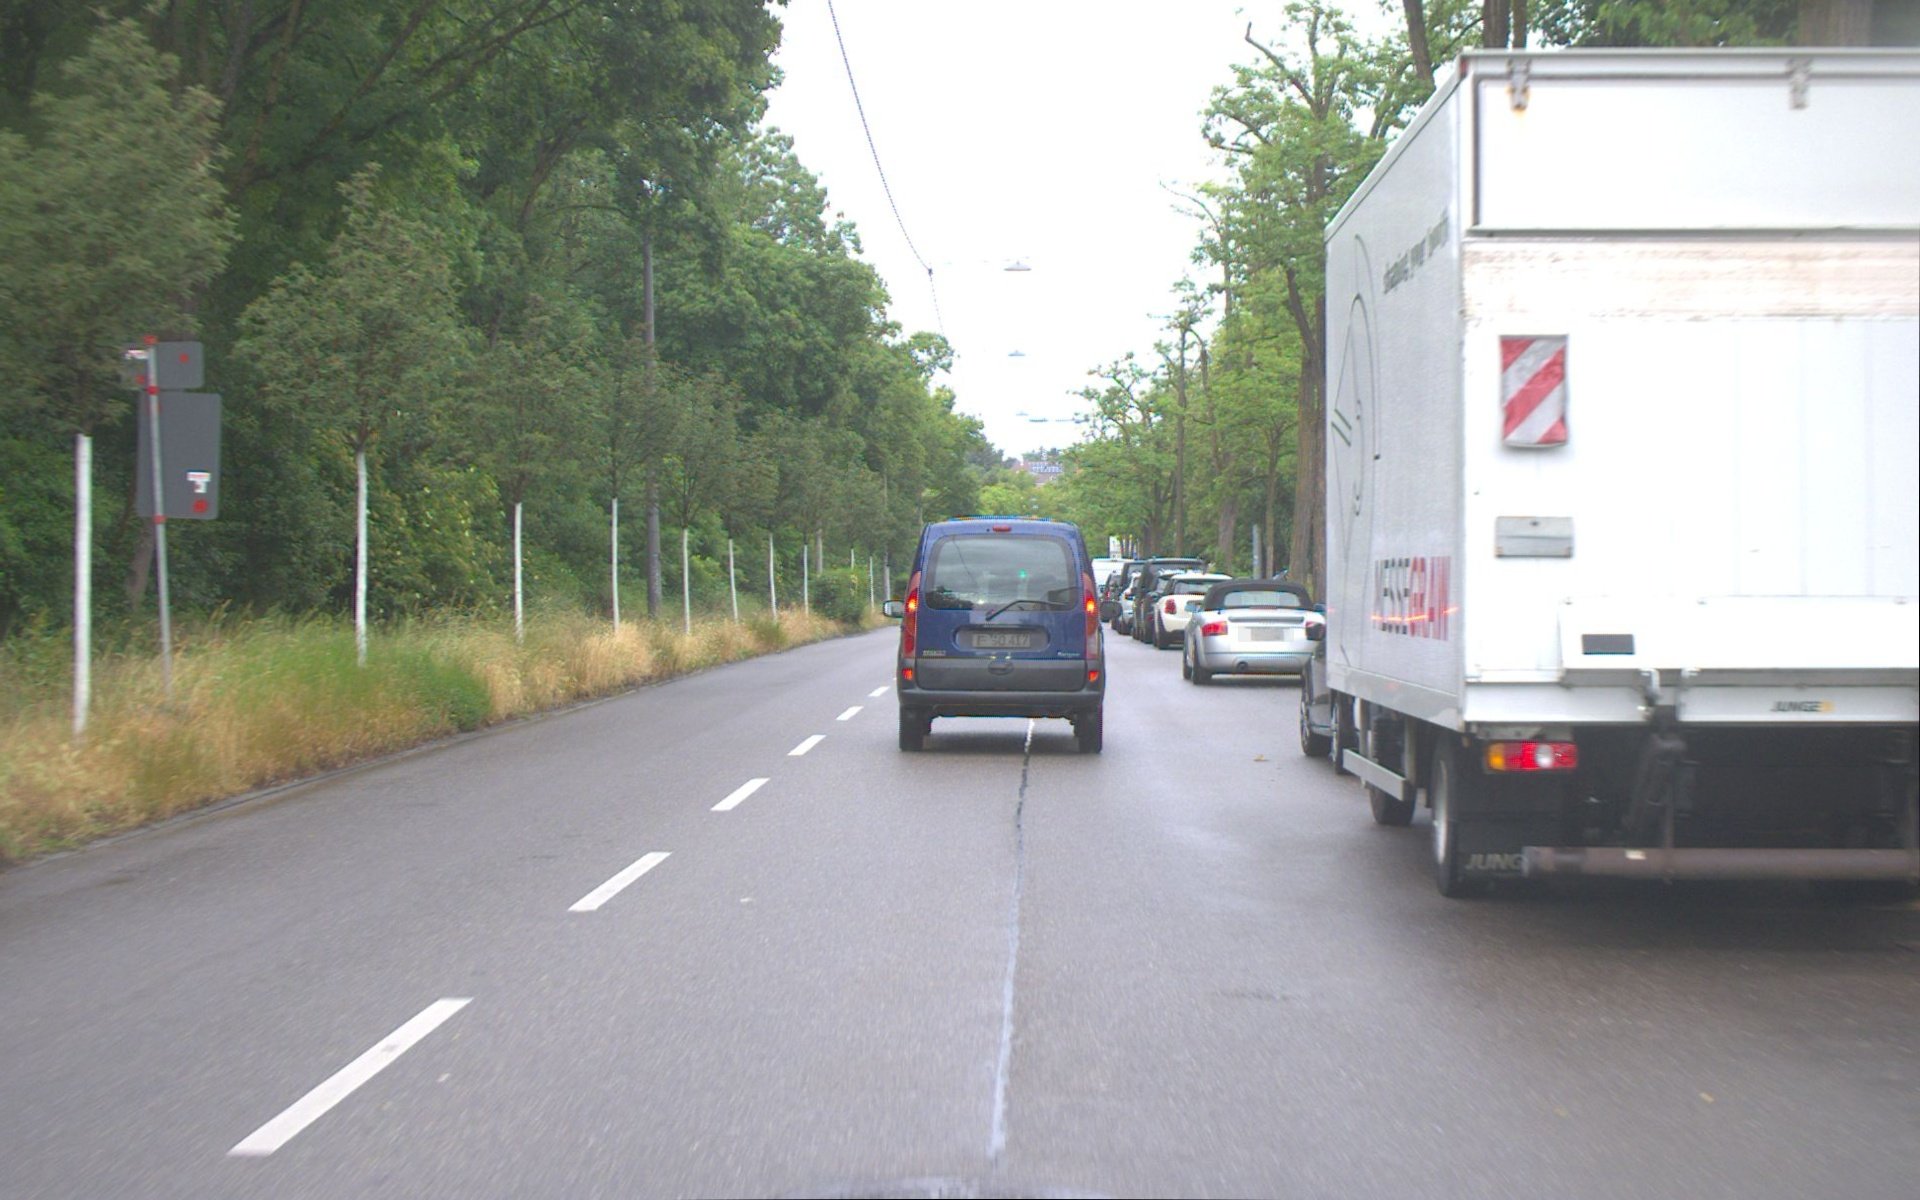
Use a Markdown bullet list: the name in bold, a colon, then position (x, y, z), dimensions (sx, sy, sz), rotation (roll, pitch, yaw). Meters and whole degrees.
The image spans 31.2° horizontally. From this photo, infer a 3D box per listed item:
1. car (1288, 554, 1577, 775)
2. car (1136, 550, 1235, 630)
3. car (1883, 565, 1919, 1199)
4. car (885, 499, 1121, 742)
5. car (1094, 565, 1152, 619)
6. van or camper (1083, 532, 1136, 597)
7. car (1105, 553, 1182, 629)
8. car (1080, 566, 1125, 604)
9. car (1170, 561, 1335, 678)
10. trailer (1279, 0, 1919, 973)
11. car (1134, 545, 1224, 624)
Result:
- **car**: position (3.391, 0.411, 25.292), dimensions (1.641, 1.459, 4.000), rotation (1, 1, 1)
- **car**: position (4.300, -0.215, 65.965), dimensions (1.738, 1.459, 3.725), rotation (1, 1, 2)
- **car**: position (2.938, 0.710, 5.321), dimensions (1.796, 1.469, 4.548), rotation (1, 1, 0)
- **car**: position (0.291, 0.128, 27.962), dimensions (1.767, 1.824, 3.542), rotation (1, 1, -1)
- **car**: position (5.860, -0.310, 124.150), dimensions (1.814, 1.807, 4.283), rotation (2, 1, 0)
- **van or camper**: position (6.288, -1.516, 145.204), dimensions (2.078, 2.641, 5.346), rotation (1, 1, 1)
- **car**: position (5.057, -0.280, 95.163), dimensions (1.993, 2.007, 4.888), rotation (1, 1, 2)
- **car**: position (5.698, -0.626, 137.584), dimensions (1.626, 1.459, 3.807), rotation (1, 1, 5)
- **car**: position (3.719, 0.211, 44.305), dimensions (1.782, 1.390, 4.000), rotation (1, 1, 0)
- **trailer**: position (3.188, -0.528, 16.003), dimensions (2.734, 3.496, 8.247), rotation (1, 1, 1)
- **car**: position (4.490, -0.340, 70.909), dimensions (1.679, 1.550, 4.075), rotation (1, 1, 2)
